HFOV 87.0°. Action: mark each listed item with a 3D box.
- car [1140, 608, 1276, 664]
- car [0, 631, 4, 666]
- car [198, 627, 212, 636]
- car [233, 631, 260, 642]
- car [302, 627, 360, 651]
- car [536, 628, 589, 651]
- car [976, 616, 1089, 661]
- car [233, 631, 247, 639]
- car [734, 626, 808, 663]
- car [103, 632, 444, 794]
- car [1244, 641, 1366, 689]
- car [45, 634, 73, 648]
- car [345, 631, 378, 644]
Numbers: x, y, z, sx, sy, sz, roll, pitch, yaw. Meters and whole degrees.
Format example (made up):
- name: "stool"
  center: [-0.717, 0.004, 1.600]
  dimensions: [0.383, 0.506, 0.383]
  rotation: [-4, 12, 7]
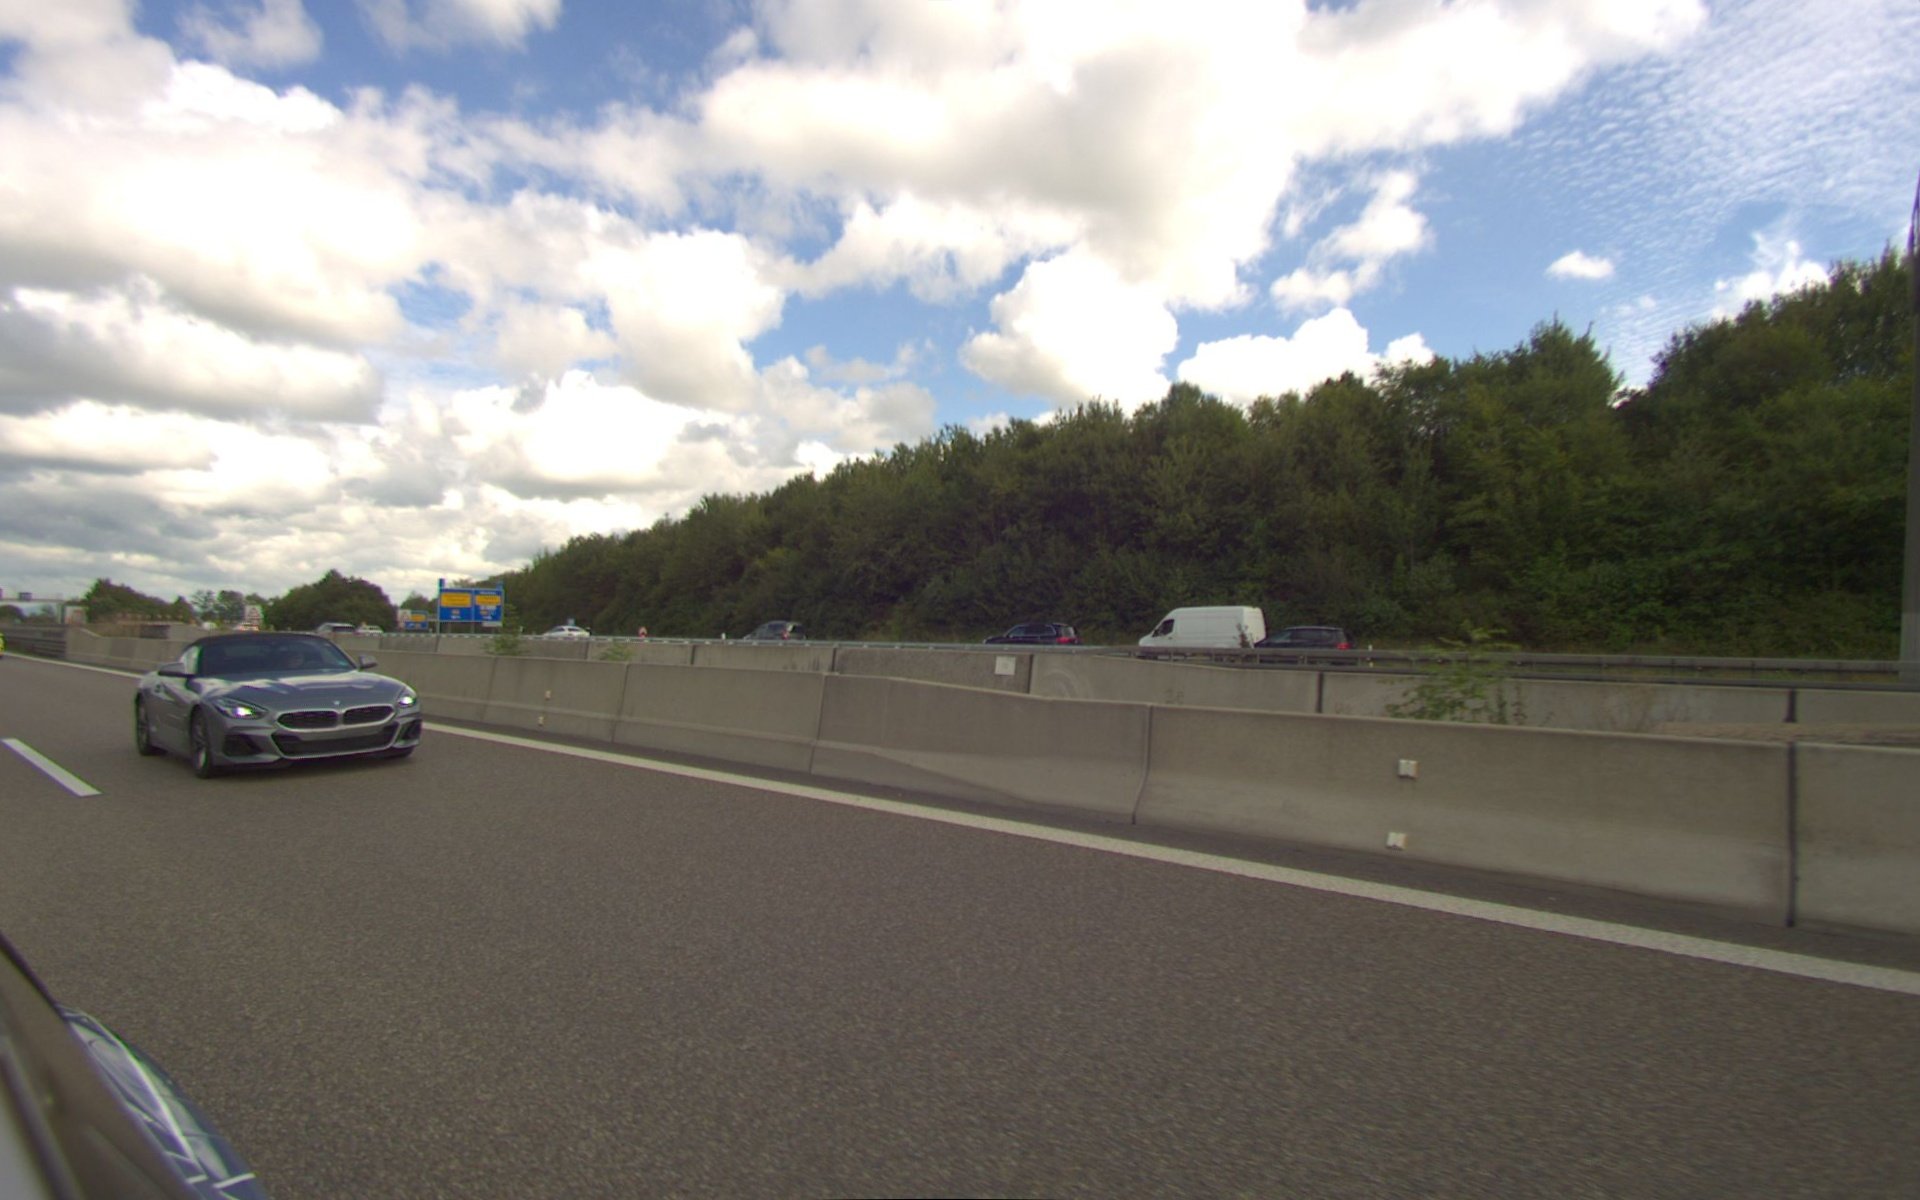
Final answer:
- name: "car"
  center: [10.929, 1.580, 44.949]
  dimensions: [5.684, 2.333, 1.971]
  rotation: [-2, -2, 43]
- name: "car"
  center: [-38.856, 1.856, 39.497]
  dimensions: [4.245, 1.325, 1.788]
  rotation: [-1, -3, 41]
- name: "car"
  center: [-133.312, 5.557, 178.765]
  dimensions: [1.748, 1.589, 5.020]
  rotation: [1, -2, -39]
- name: "car"
  center: [-84.016, 4.280, 119.073]
  dimensions: [4.245, 1.325, 1.625]
  rotation: [-1, -2, 41]
- name: "car"
  center: [-36.046, 2.194, 57.952]
  dimensions: [4.245, 1.325, 1.625]
  rotation: [-1, -2, 41]
- name: "car"
  center: [-26.986, 2.651, 68.656]
  dimensions: [4.368, 1.529, 1.658]
  rotation: [-2, -2, 43]
- name: "car"
  center: [2.907, 1.564, 41.389]
  dimensions: [4.424, 1.742, 1.832]
  rotation: [-1, -2, 41]
- name: "car"
  center: [-148.672, 7.257, 209.119]
  dimensions: [1.785, 1.648, 5.023]
  rotation: [1, -2, -29]
- name: "car"
  center: [-11.037, 2.537, 59.053]
  dimensions: [4.342, 2.029, 1.973]
  rotation: [-1, -1, 41]
- name: "car"
  center: [-7.520, 1.026, 10.858]
  dimensions: [4.940, 1.312, 1.854]
  rotation: [-1, -1, 41]
- name: "car"
  center: [12.848, 2.382, 37.770]
  dimensions: [3.997, 1.660, 1.640]
  rotation: [-1, -2, 41]
- name: "car"
  center: [-92.904, 4.208, 104.354]
  dimensions: [4.245, 1.325, 1.625]
  rotation: [-1, -4, 41]
- name: "car"
  center: [-60.854, 3.801, 102.909]
  dimensions: [4.245, 1.325, 1.625]
  rotation: [-1, -2, 41]
